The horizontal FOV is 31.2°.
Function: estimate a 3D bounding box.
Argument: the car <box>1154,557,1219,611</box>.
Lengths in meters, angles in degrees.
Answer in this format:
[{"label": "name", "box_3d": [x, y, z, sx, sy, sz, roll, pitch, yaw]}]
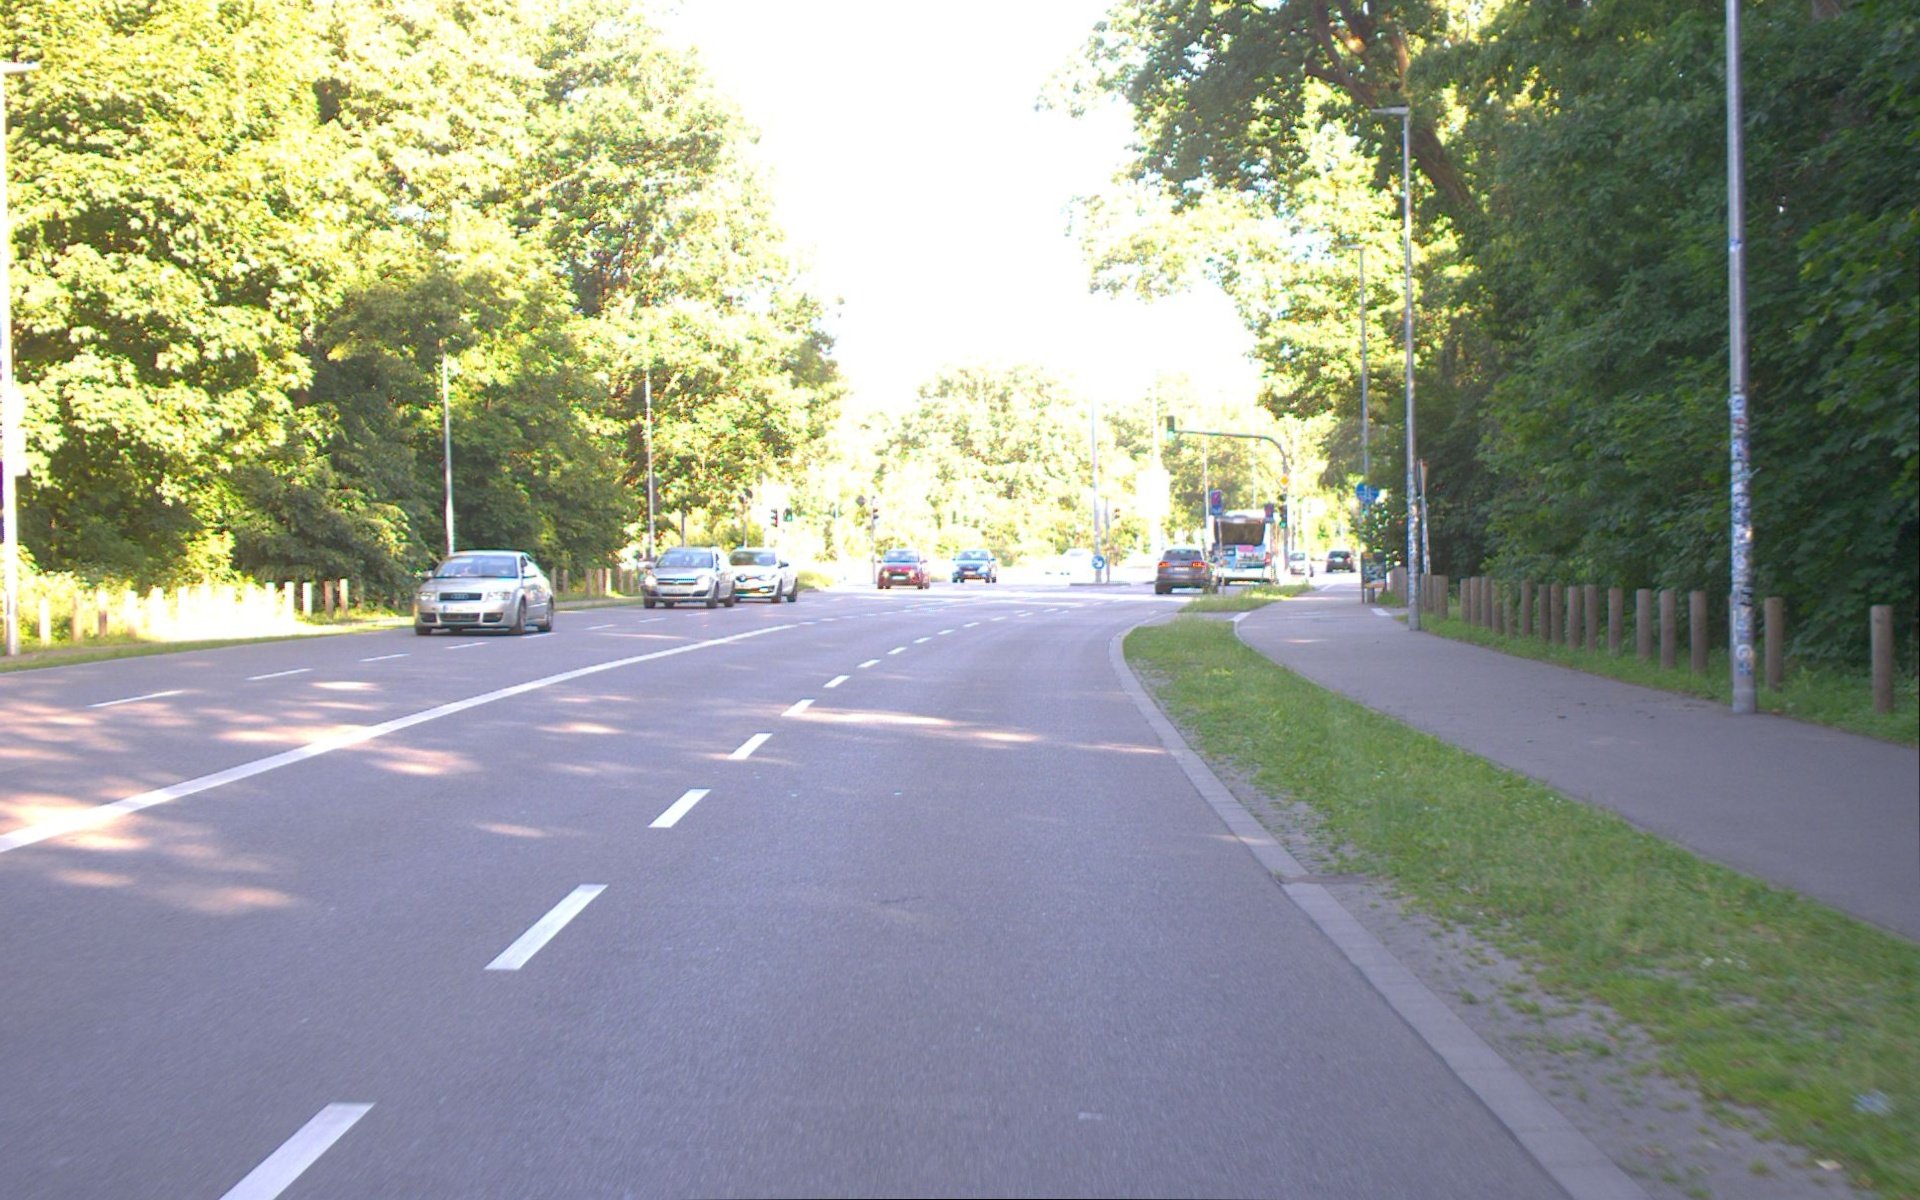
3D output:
[{"label": "car", "box_3d": [7.718, -0.564, 116.853, 1.881, 1.759, 3.999, -1, 1, 8]}]

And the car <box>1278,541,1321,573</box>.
[{"label": "car", "box_3d": [18.332, -2.317, 185.592, 1.864, 1.678, 3.771, -1, 1, 12]}]

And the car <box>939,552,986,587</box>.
[{"label": "car", "box_3d": [0.111, -1.370, 151.668, 1.656, 1.503, 3.999, 0, 1, 6]}]

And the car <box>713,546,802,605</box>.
[{"label": "car", "box_3d": [-5.366, -0.670, 91.643, 1.783, 1.517, 4.397, 0, 1, 5]}]

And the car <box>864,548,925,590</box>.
[{"label": "car", "box_3d": [-2.391, -1.149, 127.126, 1.663, 1.513, 3.806, 0, 1, 8]}]

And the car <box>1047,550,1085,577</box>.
[{"label": "car", "box_3d": [5.933, -2.009, 191.443, 1.711, 1.459, 4.099, 1, 1, 7]}]

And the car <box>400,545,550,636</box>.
[{"label": "car", "box_3d": [-7.988, -0.182, 56.931, 1.779, 1.403, 4.165, 0, 2, 2]}]

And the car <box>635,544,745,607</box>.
[{"label": "car", "box_3d": [-6.429, -0.597, 82.257, 1.780, 1.459, 4.273, 0, 0, 8]}]

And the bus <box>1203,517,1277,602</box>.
[{"label": "bus", "box_3d": [11.530, -1.695, 140.909, 2.606, 3.357, 7.973, 0, 1, 8]}]
